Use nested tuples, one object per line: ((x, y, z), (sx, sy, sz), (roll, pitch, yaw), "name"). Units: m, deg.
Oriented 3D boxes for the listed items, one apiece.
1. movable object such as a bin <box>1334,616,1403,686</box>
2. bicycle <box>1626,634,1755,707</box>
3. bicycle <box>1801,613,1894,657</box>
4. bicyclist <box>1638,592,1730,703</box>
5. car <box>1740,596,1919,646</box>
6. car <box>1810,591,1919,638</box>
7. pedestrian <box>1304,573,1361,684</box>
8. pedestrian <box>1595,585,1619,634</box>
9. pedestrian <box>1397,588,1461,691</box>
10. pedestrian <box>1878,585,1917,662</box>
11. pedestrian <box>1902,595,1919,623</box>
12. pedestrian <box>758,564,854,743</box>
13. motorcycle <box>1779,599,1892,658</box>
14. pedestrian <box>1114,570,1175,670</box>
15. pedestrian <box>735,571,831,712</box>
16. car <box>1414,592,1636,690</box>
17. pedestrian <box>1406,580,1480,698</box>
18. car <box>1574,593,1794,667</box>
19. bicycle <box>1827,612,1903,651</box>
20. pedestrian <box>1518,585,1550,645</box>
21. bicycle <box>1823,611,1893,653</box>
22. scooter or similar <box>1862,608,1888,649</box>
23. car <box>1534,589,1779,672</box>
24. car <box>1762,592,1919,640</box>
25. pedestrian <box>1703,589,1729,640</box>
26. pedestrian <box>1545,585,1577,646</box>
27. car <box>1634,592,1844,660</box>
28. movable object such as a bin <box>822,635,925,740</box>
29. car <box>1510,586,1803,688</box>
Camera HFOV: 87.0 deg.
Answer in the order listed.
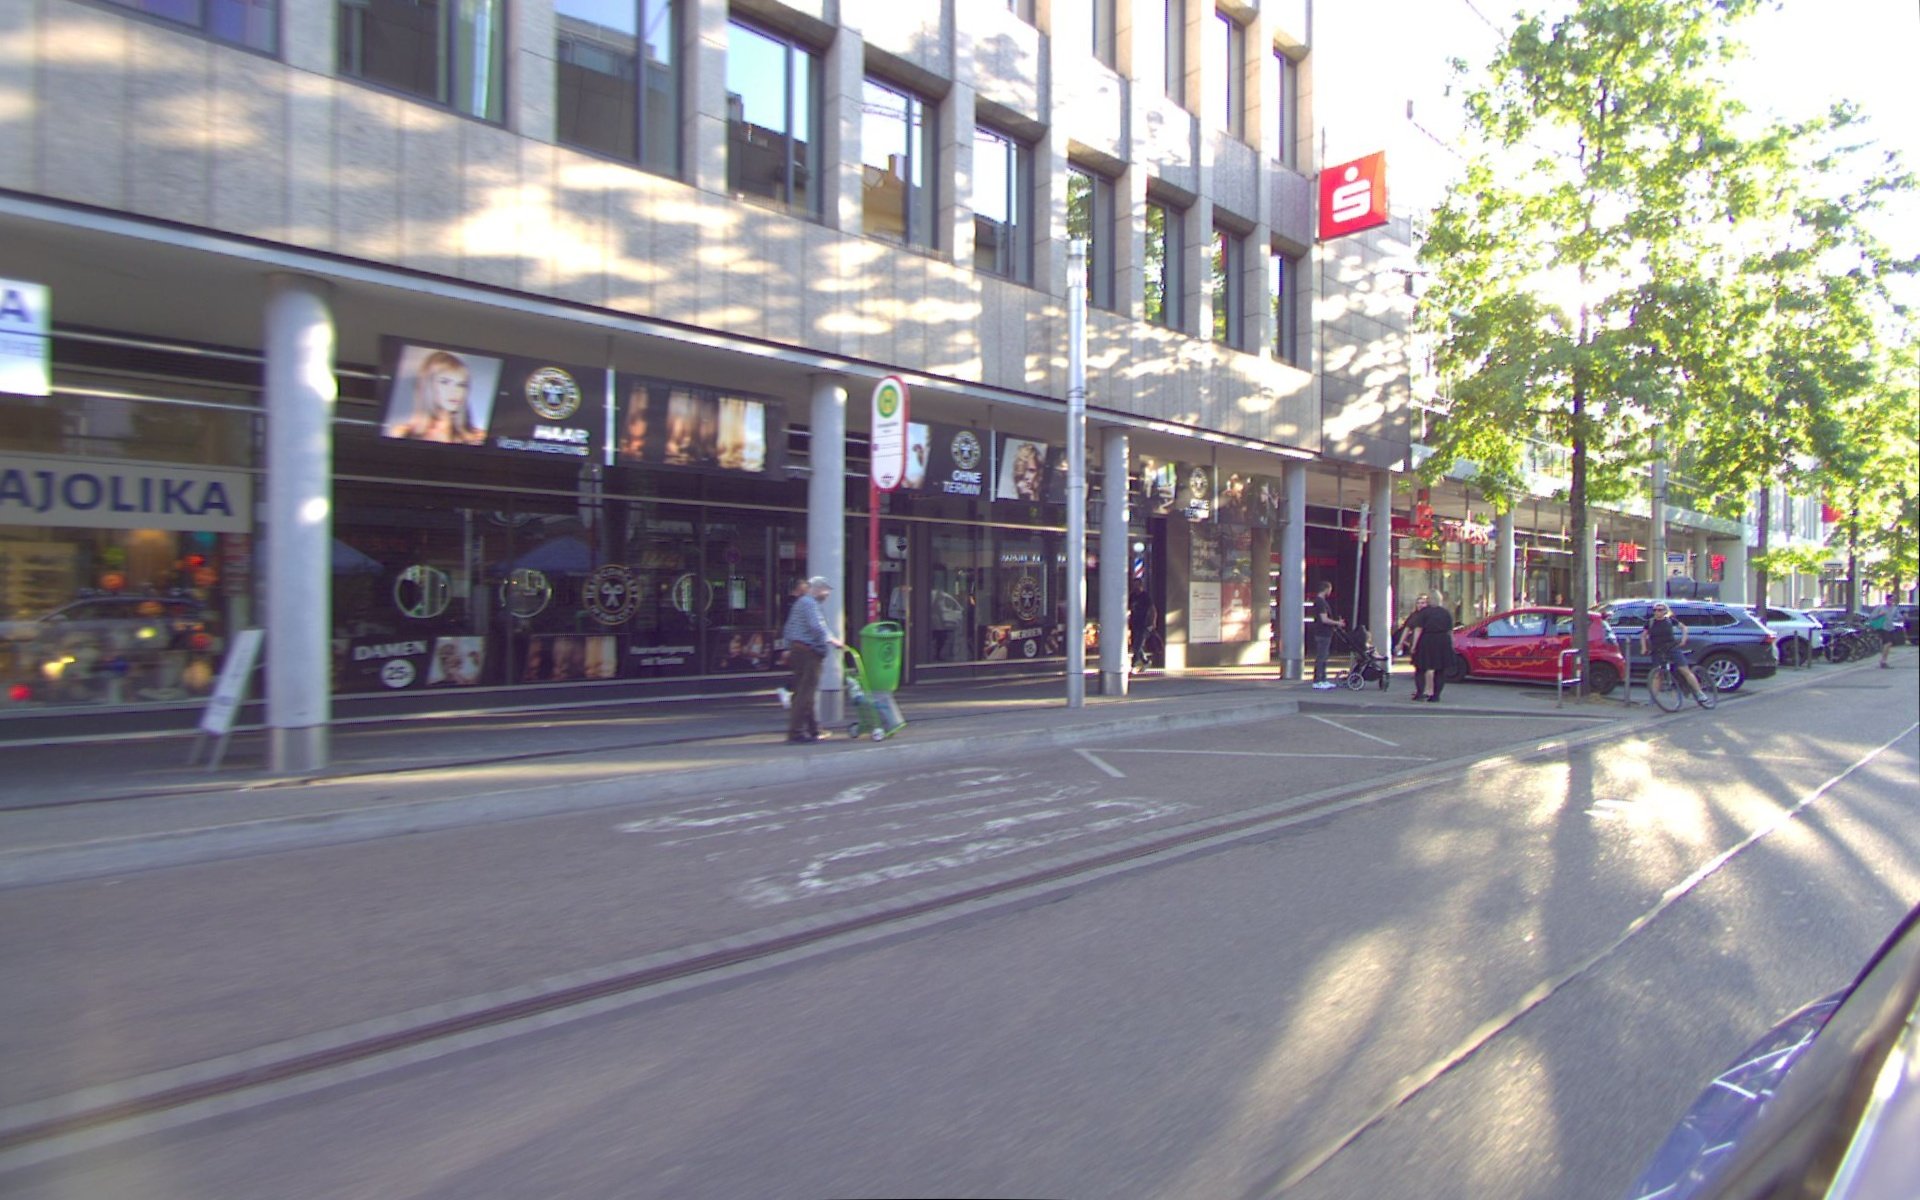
((6.707, 0.830, 16.658), (0.818, 1.077, 0.689), (2, 1, 1), "movable object such as a bin")
((11.147, 1.048, 15.431), (2.017, 1.008, 0.721), (0, -2, -27), "bicycle")
((25.860, 1.014, 29.530), (1.873, 1.133, 0.663), (2, 2, 21), "bicycle")
((11.095, 0.711, 15.520), (0.894, 1.634, 0.781), (0, -2, -27), "bicyclist")
((32.181, 0.753, 37.303), (4.986, 1.487, 1.970), (3, 2, 14), "car")
((39.774, 0.644, 43.365), (4.610, 1.785, 1.982), (3, 2, 20), "car")
((6.127, 0.451, 16.664), (0.621, 1.753, 0.689), (2, 1, 1), "pedestrian")
((23.700, 0.350, 37.055), (0.515, 1.772, 0.558), (0, 2, -41), "pedestrian")
((7.413, 0.608, 16.025), (0.677, 1.571, 0.607), (2, 1, 3), "pedestrian")
((24.217, 0.598, 26.149), (0.651, 1.942, 0.584), (0, 2, -39), "pedestrian")
((66.109, 0.641, 70.273), (0.901, 1.921, 0.836), (1, 1, -39), "pedestrian")
((-1.447, 0.483, 9.485), (0.621, 1.593, 0.682), (1, -2, -41), "pedestrian")
((24.753, 0.790, 28.647), (2.278, 1.528, 0.858), (2, 2, 6), "motorcycle")
((3.457, 0.363, 18.984), (0.768, 1.807, 0.846), (1, -1, -41), "pedestrian")
((-2.118, 0.470, 12.118), (0.909, 1.609, 0.697), (1, -1, -41), "pedestrian")
((10.291, 0.673, 18.607), (3.370, 1.499, 1.650), (3, 2, 30), "car")
((7.234, 0.567, 15.185), (0.682, 1.706, 0.682), (2, 1, -7), "pedestrian")
((17.718, 0.690, 25.018), (4.118, 1.517, 1.674), (3, 2, 26), "car")
((29.026, 0.999, 32.494), (1.544, 1.102, 0.864), (3, 1, 19), "bicycle")
((17.235, 0.456, 30.395), (0.588, 1.765, 0.626), (1, 1, -35), "pedestrian")
((27.484, 0.976, 30.990), (1.662, 1.177, 0.481), (2, 2, -1), "bicycle")
((30.231, 0.920, 33.423), (1.284, 1.291, 0.451), (0, 4, -42), "scooter or similar")
((15.868, 0.635, 23.334), (4.194, 1.607, 1.874), (2, 2, 18), "car")
((36.539, 0.620, 42.030), (4.620, 1.675, 1.991), (3, 2, 26), "car")
((25.406, 0.483, 34.009), (0.677, 1.718, 0.543), (0, -1, 37), "pedestrian")
((17.798, 0.453, 29.964), (0.589, 1.765, 0.625), (1, 1, -42), "pedestrian")
((21.262, 0.663, 27.834), (4.102, 1.591, 1.845), (2, 1, 16), "car")
((-0.830, 0.807, 9.646), (0.705, 0.936, 0.691), (1, -2, -41), "movable object such as a bin")
((13.346, 0.651, 19.705), (4.299, 1.672, 1.685), (2, 2, 18), "car")
